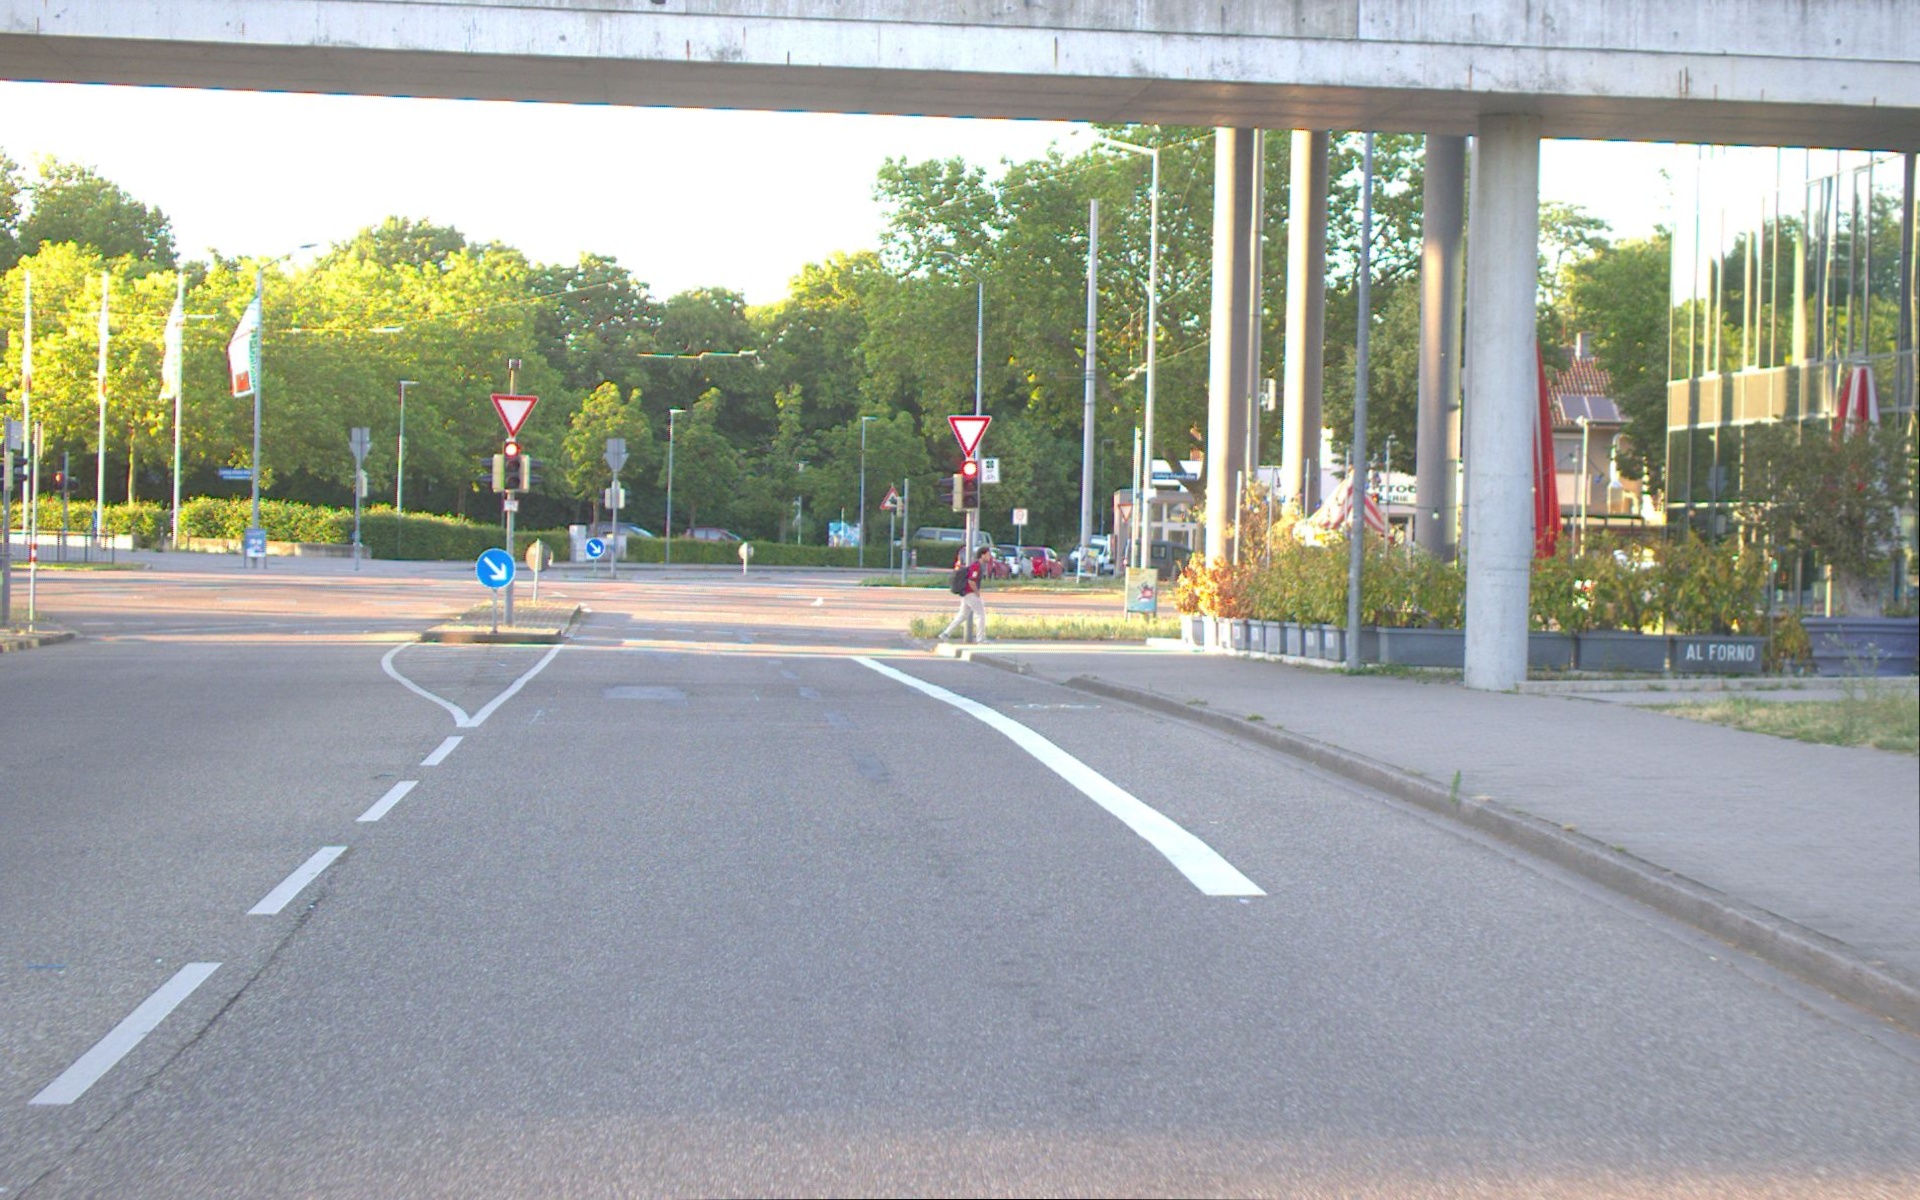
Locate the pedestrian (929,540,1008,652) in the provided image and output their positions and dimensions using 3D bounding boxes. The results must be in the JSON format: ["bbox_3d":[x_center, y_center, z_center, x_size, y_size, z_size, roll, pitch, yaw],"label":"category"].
[{"bbox_3d":[0.145,-0.076,57.567,1.053,1.827,0.895,1,2,-17],"label":"pedestrian"}]

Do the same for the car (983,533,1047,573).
[{"bbox_3d":[2.326,-1.979,144.865,1.499,1.600,3.399,2,2,22],"label":"car"}]

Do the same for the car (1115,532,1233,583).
[{"bbox_3d":[8.349,-1.668,134.347,4.467,1.810,1.945,2,2,2],"label":"car"}]

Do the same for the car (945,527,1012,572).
[{"bbox_3d":[0.773,-2.080,140.708,1.499,1.754,3.399,2,2,22],"label":"car"}]

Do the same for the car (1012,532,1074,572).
[{"bbox_3d":[3.603,-2.080,148.348,1.499,1.600,3.399,2,2,22],"label":"car"}]

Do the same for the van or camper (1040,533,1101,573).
[{"bbox_3d":[5.701,-2.427,176.928,1.627,1.975,3.801,3,2,26],"label":"van or camper"}]

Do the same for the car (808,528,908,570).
[{"bbox_3d":[-4.967,-2.510,167.403,4.685,1.862,2.013,2,2,3],"label":"car"}]
